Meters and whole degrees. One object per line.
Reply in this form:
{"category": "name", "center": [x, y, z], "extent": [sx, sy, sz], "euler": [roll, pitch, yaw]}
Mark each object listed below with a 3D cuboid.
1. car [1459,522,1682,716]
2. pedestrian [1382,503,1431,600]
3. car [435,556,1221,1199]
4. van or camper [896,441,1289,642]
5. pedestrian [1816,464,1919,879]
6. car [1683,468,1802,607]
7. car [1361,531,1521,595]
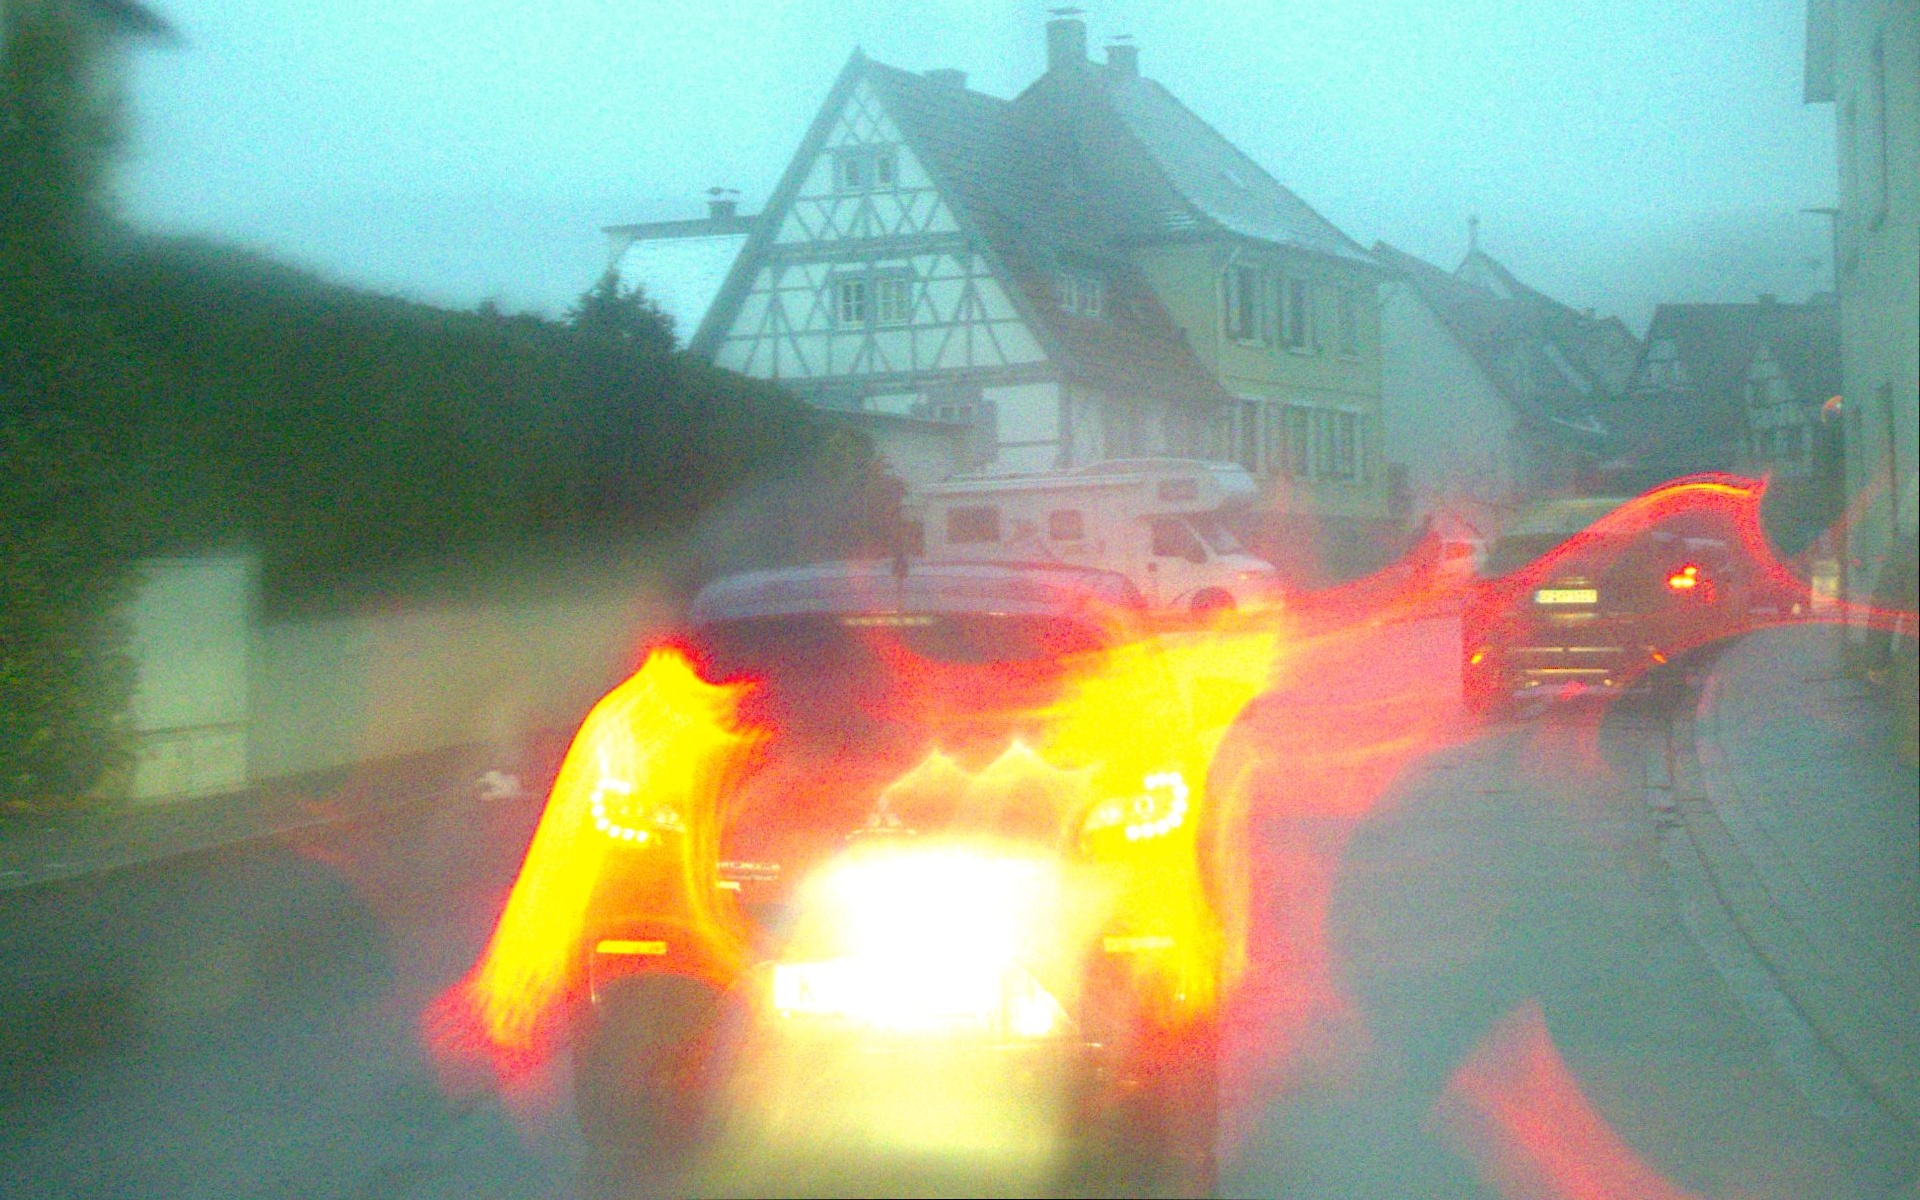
{"category": "car", "center": [5.575, 0.123, 31.156], "extent": [1.848, 1.631, 4.334], "euler": [0, 1, 11]}
{"category": "pedestrian", "center": [9.327, -1.015, 71.811], "extent": [0.874, 2.007, 0.794], "euler": [-1, 1, 15]}
{"category": "car", "center": [-0.229, 0.625, 9.838], "extent": [1.795, 1.471, 4.000], "euler": [0, 1, 2]}
{"category": "van or camper", "center": [2.266, -0.971, 58.572], "extent": [6.066, 2.945, 2.404], "euler": [-4, 0, 20]}
{"category": "pedestrian", "center": [4.093, 0.261, 14.329], "extent": [0.867, 1.661, 0.991], "euler": [-4, 1, 12]}
{"category": "car", "center": [14.175, -1.123, 62.169], "extent": [1.815, 2.405, 3.749], "euler": [-1, 1, 16]}
{"category": "car", "center": [11.695, -0.902, 83.561], "extent": [3.511, 1.502, 1.690], "euler": [0, 1, 22]}
